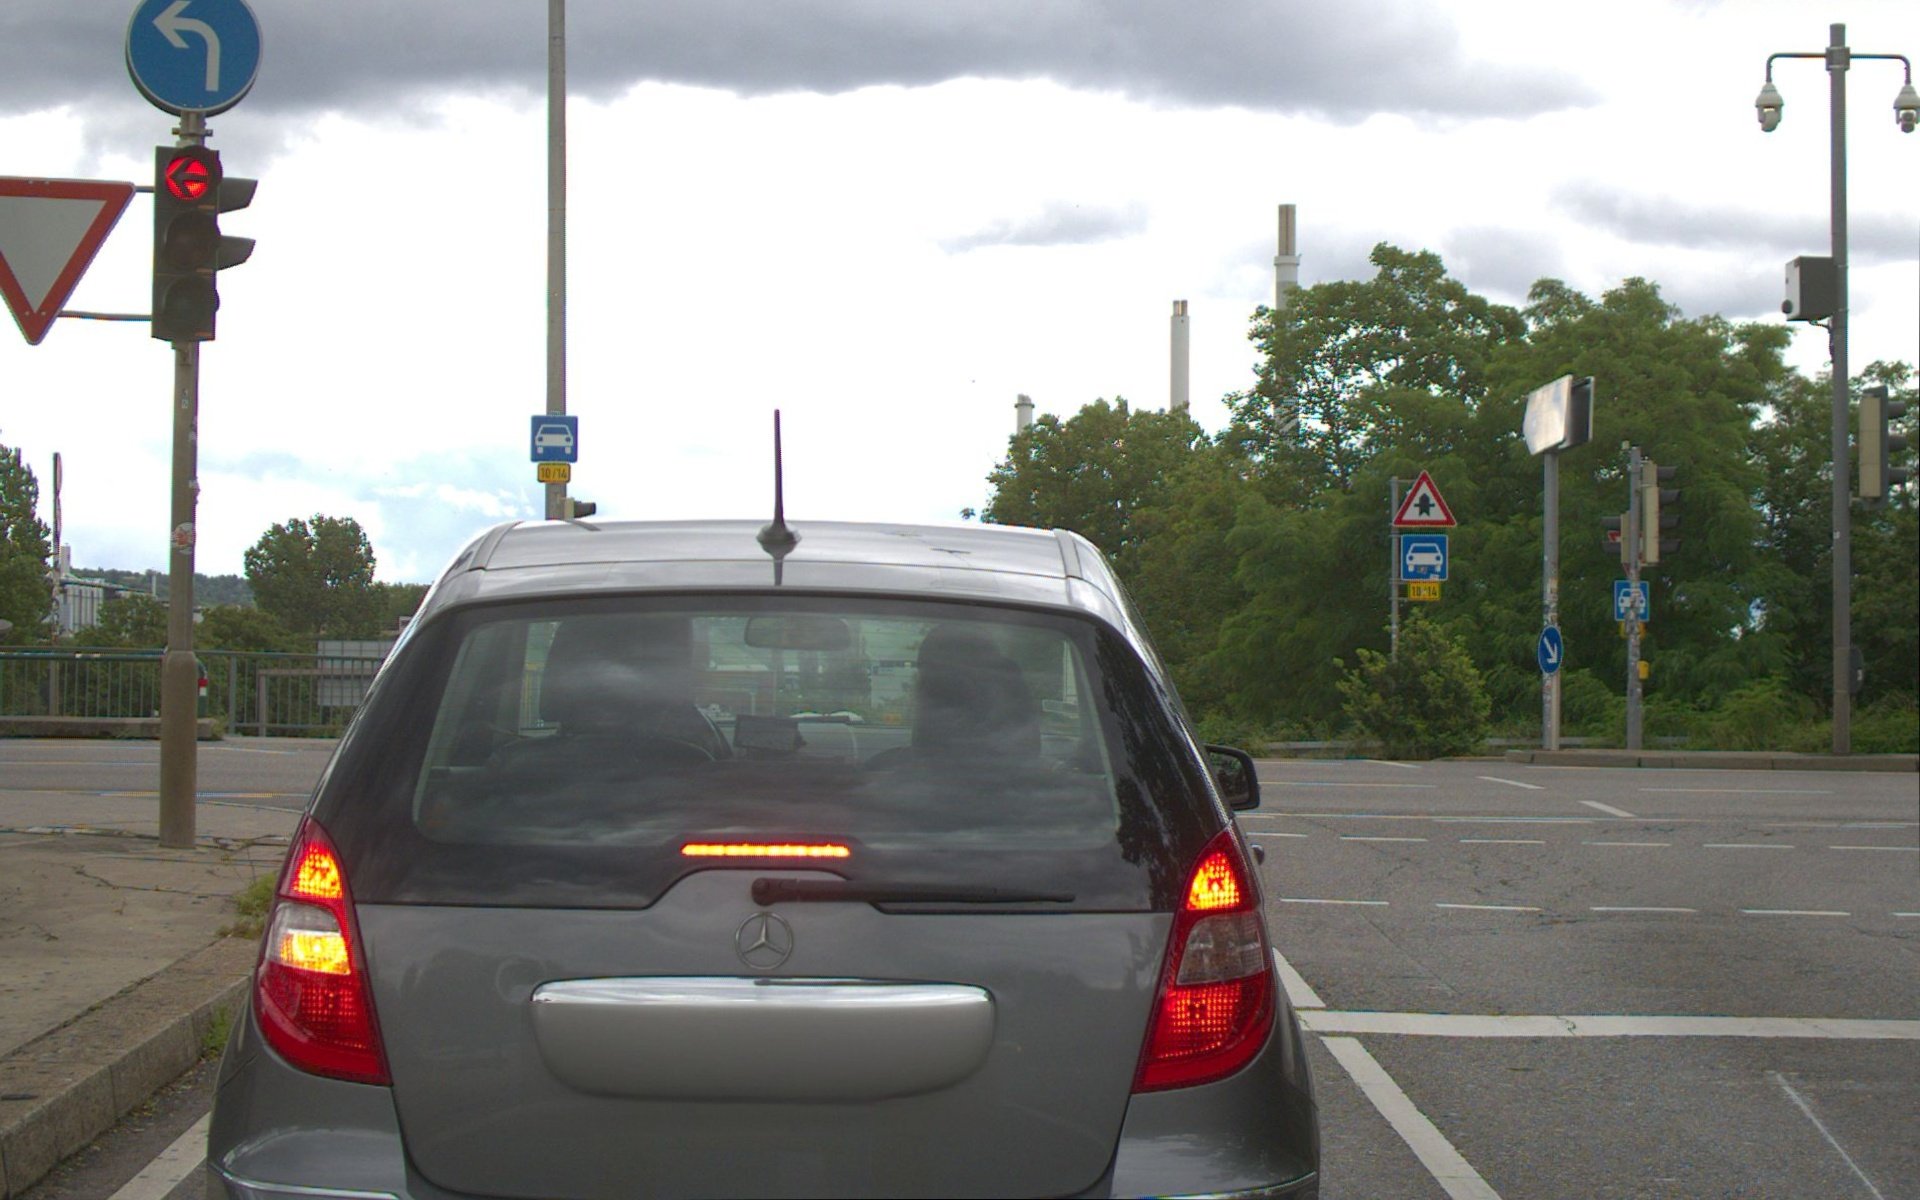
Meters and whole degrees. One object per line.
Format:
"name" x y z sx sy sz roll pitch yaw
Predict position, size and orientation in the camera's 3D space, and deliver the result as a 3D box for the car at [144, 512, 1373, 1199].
"car" -0.305 0.638 6.675 1.739 1.538 3.541 1 1 0
